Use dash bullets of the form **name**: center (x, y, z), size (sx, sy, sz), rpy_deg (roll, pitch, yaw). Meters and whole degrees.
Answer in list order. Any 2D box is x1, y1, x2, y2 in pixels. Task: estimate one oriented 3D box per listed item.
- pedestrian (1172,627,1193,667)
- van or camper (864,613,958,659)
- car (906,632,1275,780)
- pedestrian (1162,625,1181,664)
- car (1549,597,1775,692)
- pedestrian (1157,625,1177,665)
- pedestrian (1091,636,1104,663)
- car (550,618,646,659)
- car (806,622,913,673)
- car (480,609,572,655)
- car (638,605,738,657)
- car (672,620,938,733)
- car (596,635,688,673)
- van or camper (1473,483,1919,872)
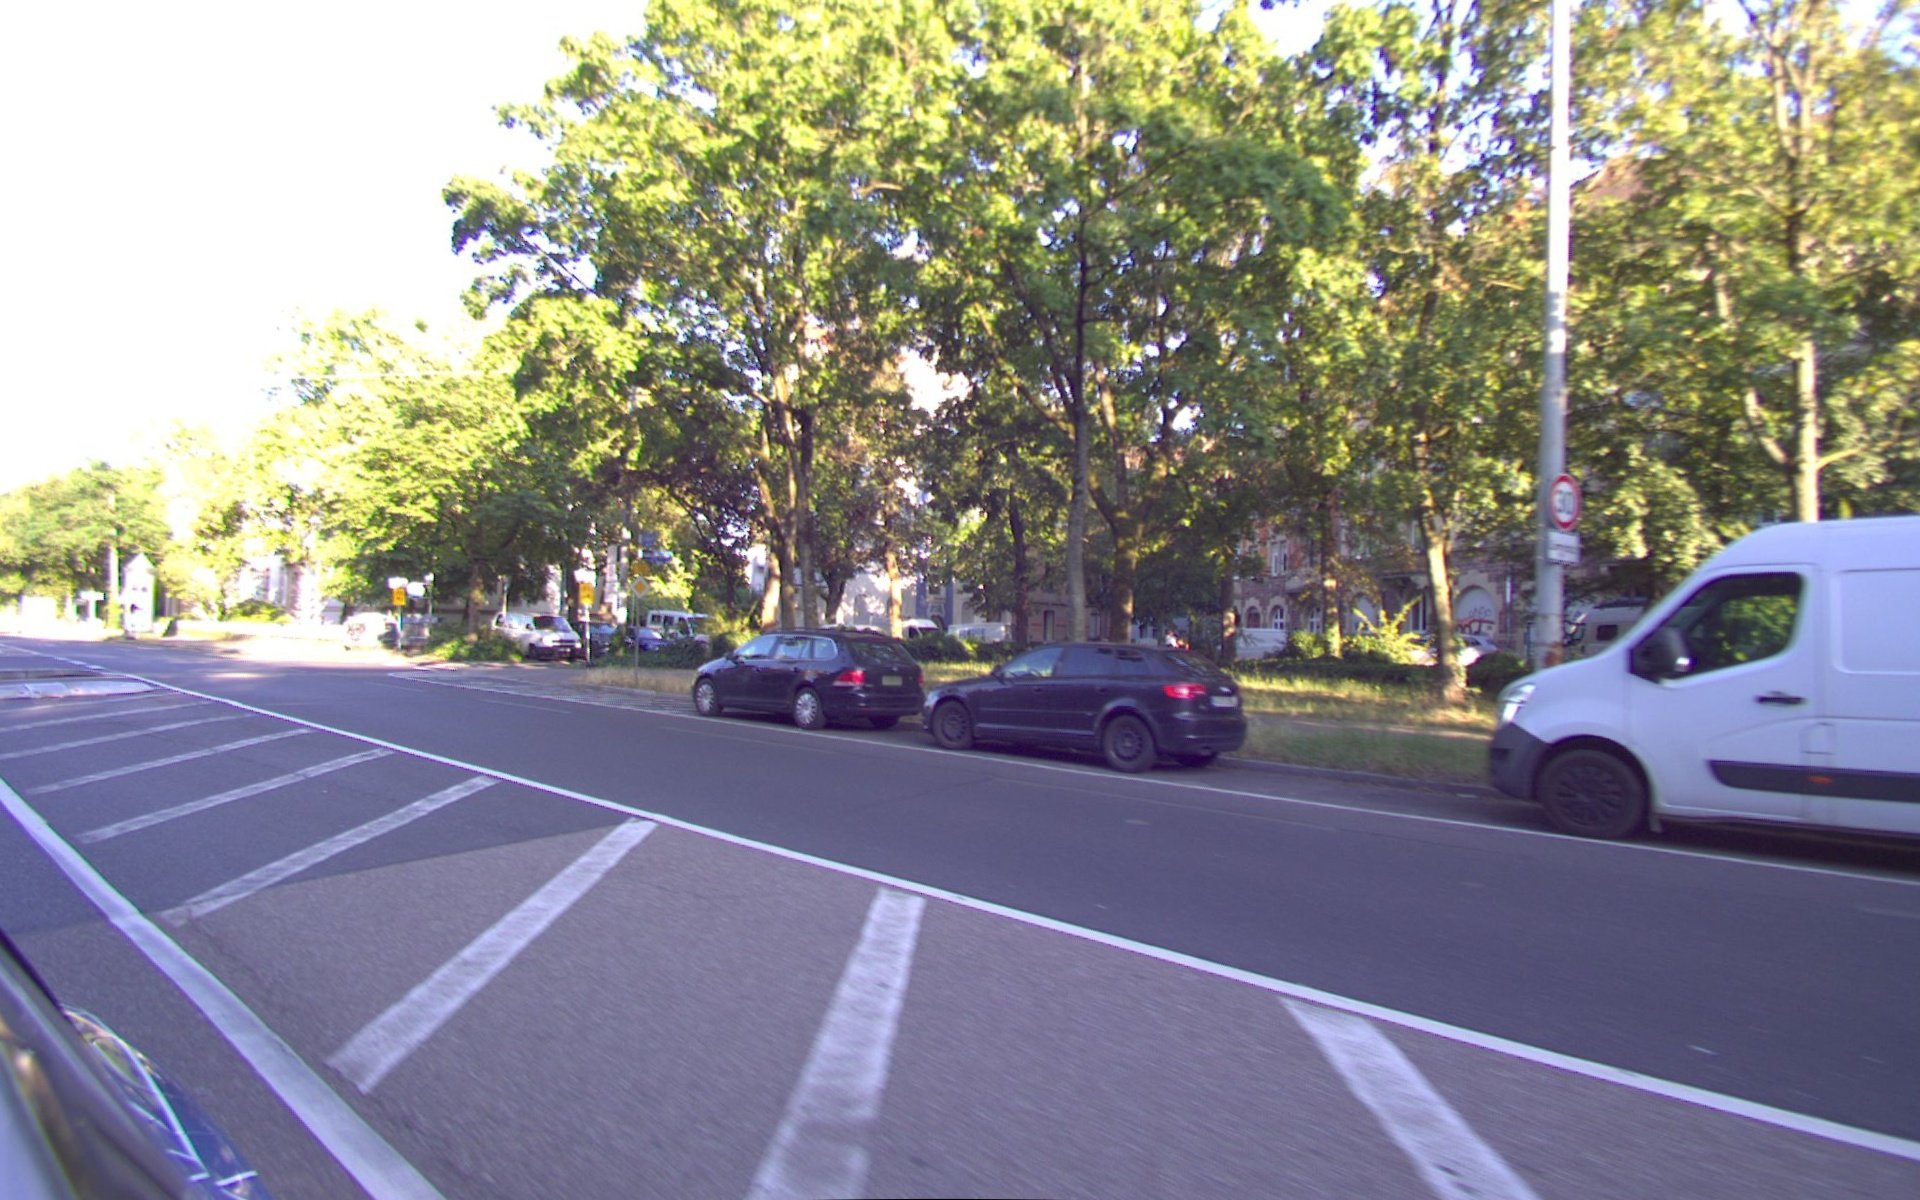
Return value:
- **pedestrian**: center (7.891, 1.658, 35.893), size (0.557, 1.406, 0.452), rpy_deg (-1, -3, 35)
- **van or camper**: center (-2.843, 2.036, 57.959), size (5.424, 2.490, 2.044), rpy_deg (-1, -3, 41)
- **car**: center (1.438, 1.168, 12.228), size (4.241, 1.440, 1.611), rpy_deg (-1, -5, 42)
- **pedestrian**: center (7.756, 1.638, 37.184), size (0.450, 1.406, 0.560), rpy_deg (2, -3, -18)
- **car**: center (20.396, 1.305, 29.785), size (2.235, 2.504, 5.248), rpy_deg (2, -3, -14)
- **pedestrian**: center (7.422, 1.626, 36.228), size (0.557, 1.406, 0.452), rpy_deg (-1, -3, 35)
- **pedestrian**: center (10.632, 3.804, 78.188), size (0.682, 2.029, 0.657), rpy_deg (4, -4, -43)
- **car**: center (-15.398, 1.613, 43.009), size (3.995, 1.674, 1.974), rpy_deg (-1, -3, 38)
- **car**: center (-4.031, 1.835, 40.266), size (3.995, 1.896, 1.974), rpy_deg (-1, -2, 38)
- **car**: center (-18.037, 1.322, 42.012), size (3.995, 1.809, 1.801), rpy_deg (-1, -3, 38)
- **car**: center (-12.713, 1.427, 47.180), size (5.100, 2.306, 2.190), rpy_deg (-1, -3, 45)
- **car**: center (-2.552, 1.115, 15.893), size (4.543, 1.518, 1.606), rpy_deg (-1, -4, 43)
- **car**: center (-14.178, 2.377, 45.075), size (3.995, 1.551, 1.974), rpy_deg (-1, -3, 38)
- **van or camper**: center (7.199, 0.550, 6.913), size (6.303, 2.487, 2.069), rpy_deg (-1, -5, 42)
